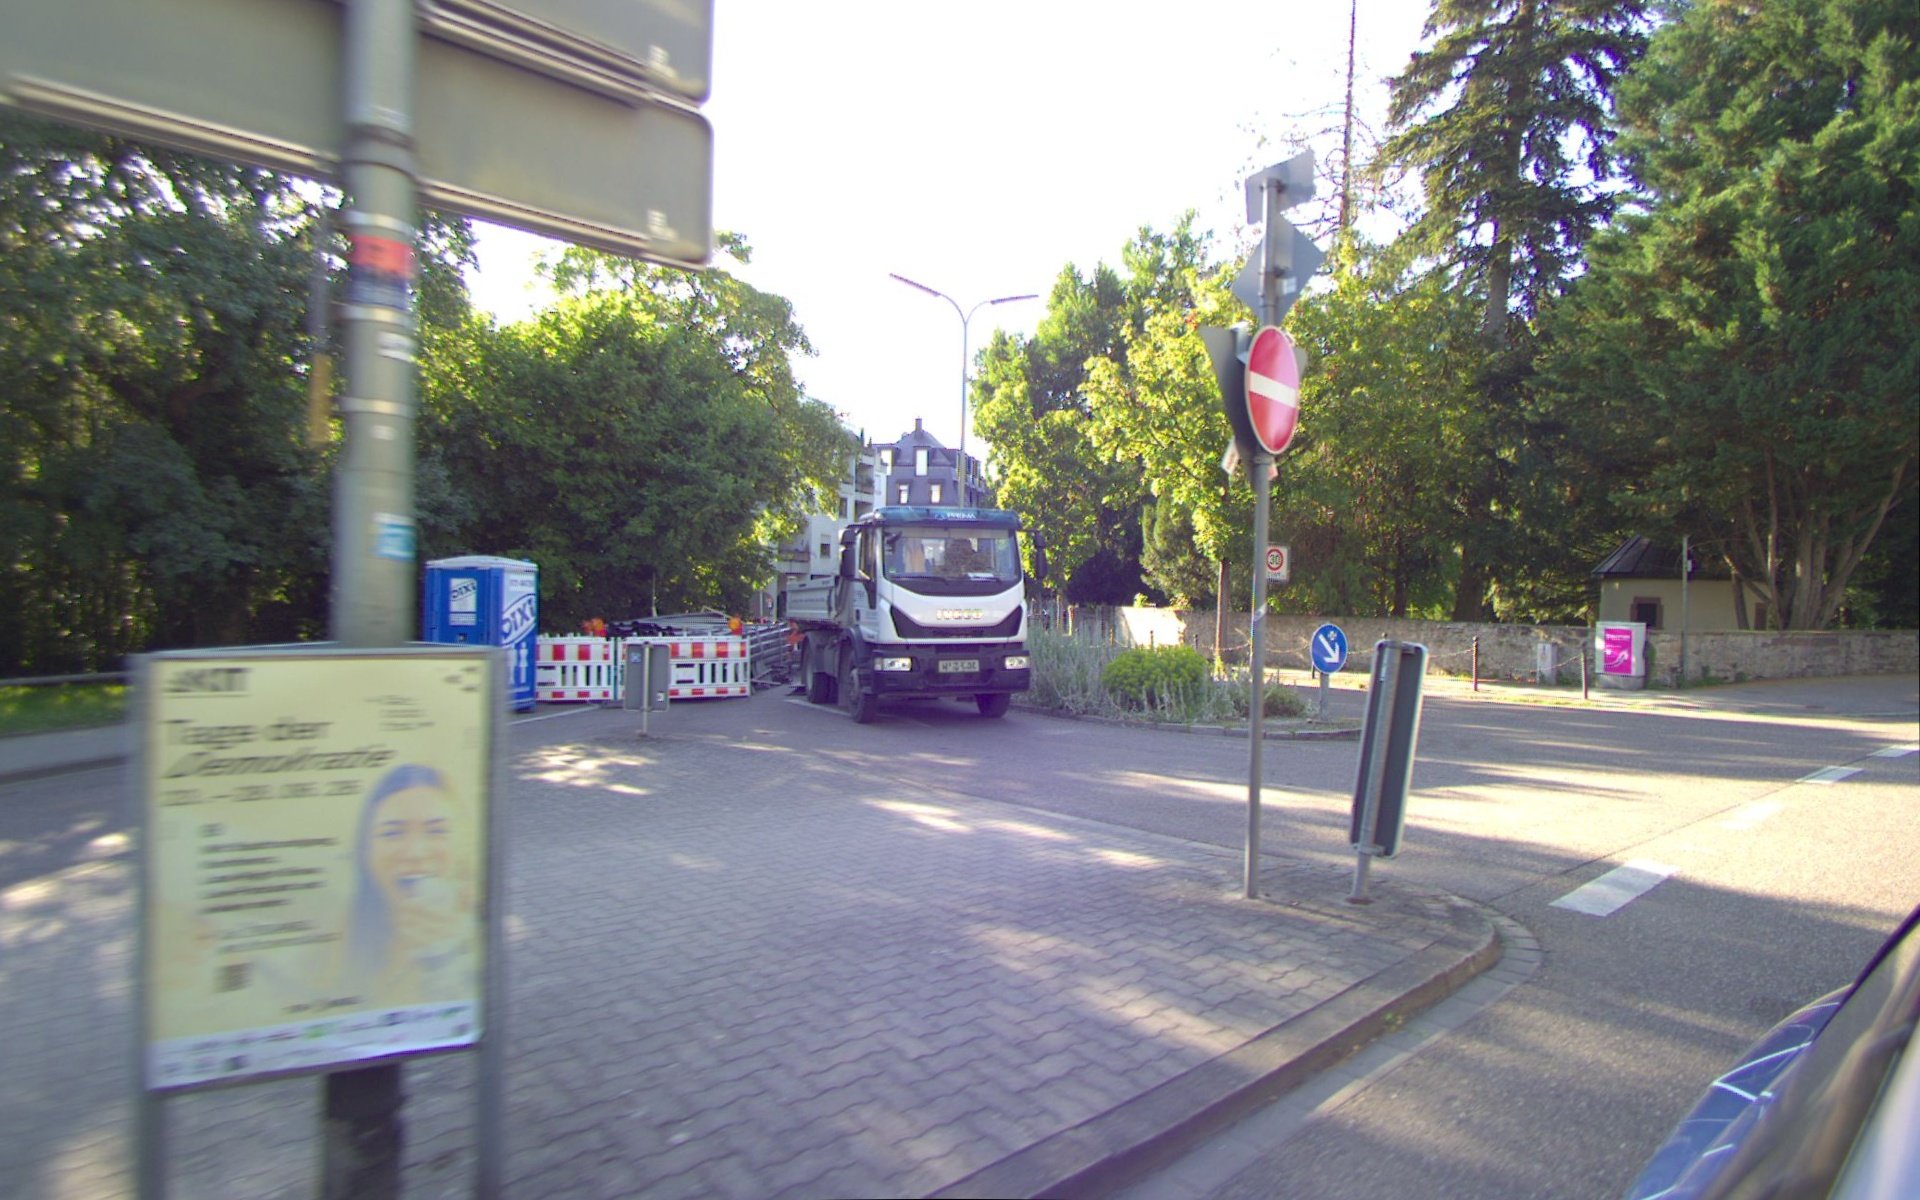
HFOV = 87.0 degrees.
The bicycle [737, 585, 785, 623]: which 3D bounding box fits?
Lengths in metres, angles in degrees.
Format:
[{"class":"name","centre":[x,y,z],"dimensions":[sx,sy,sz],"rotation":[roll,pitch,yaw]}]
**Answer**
[{"class":"bicycle","centre":[-7.004,0.153,35.763],"dimensions":[0.750,1.222,2.836],"rotation":[5,0,7]}]

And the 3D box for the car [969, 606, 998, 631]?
[{"class":"car","centre":[1.474,1.197,65.419],"dimensions":[1.803,1.542,3.913],"rotation":[0,-1,0]}]

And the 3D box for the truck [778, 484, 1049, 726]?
[{"class":"truck","centre":[-1.089,0.107,15.794],"dimensions":[2.382,2.932,6.621],"rotation":[0,-1,-20]}]

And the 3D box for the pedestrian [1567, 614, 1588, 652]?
[{"class":"pedestrian","centre":[28.785,1.545,47.184],"dimensions":[0.585,1.752,0.592],"rotation":[0,-2,-23]}]

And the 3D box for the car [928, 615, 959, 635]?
[{"class":"car","centre":[-1.214,1.873,75.716],"dimensions":[1.726,1.429,3.588],"rotation":[0,0,9]}]

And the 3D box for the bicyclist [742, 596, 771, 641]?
[{"class":"bicyclist","centre":[-7.088,0.654,35.272],"dimensions":[0.747,1.504,0.642],"rotation":[4,0,8]}]

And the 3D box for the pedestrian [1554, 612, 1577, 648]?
[{"class":"pedestrian","centre":[28.038,1.399,46.887],"dimensions":[0.556,1.639,0.760],"rotation":[-1,-2,2]}]

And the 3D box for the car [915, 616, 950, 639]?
[{"class":"car","centre":[-1.763,1.746,65.156],"dimensions":[1.725,1.429,3.590],"rotation":[0,0,7]}]
